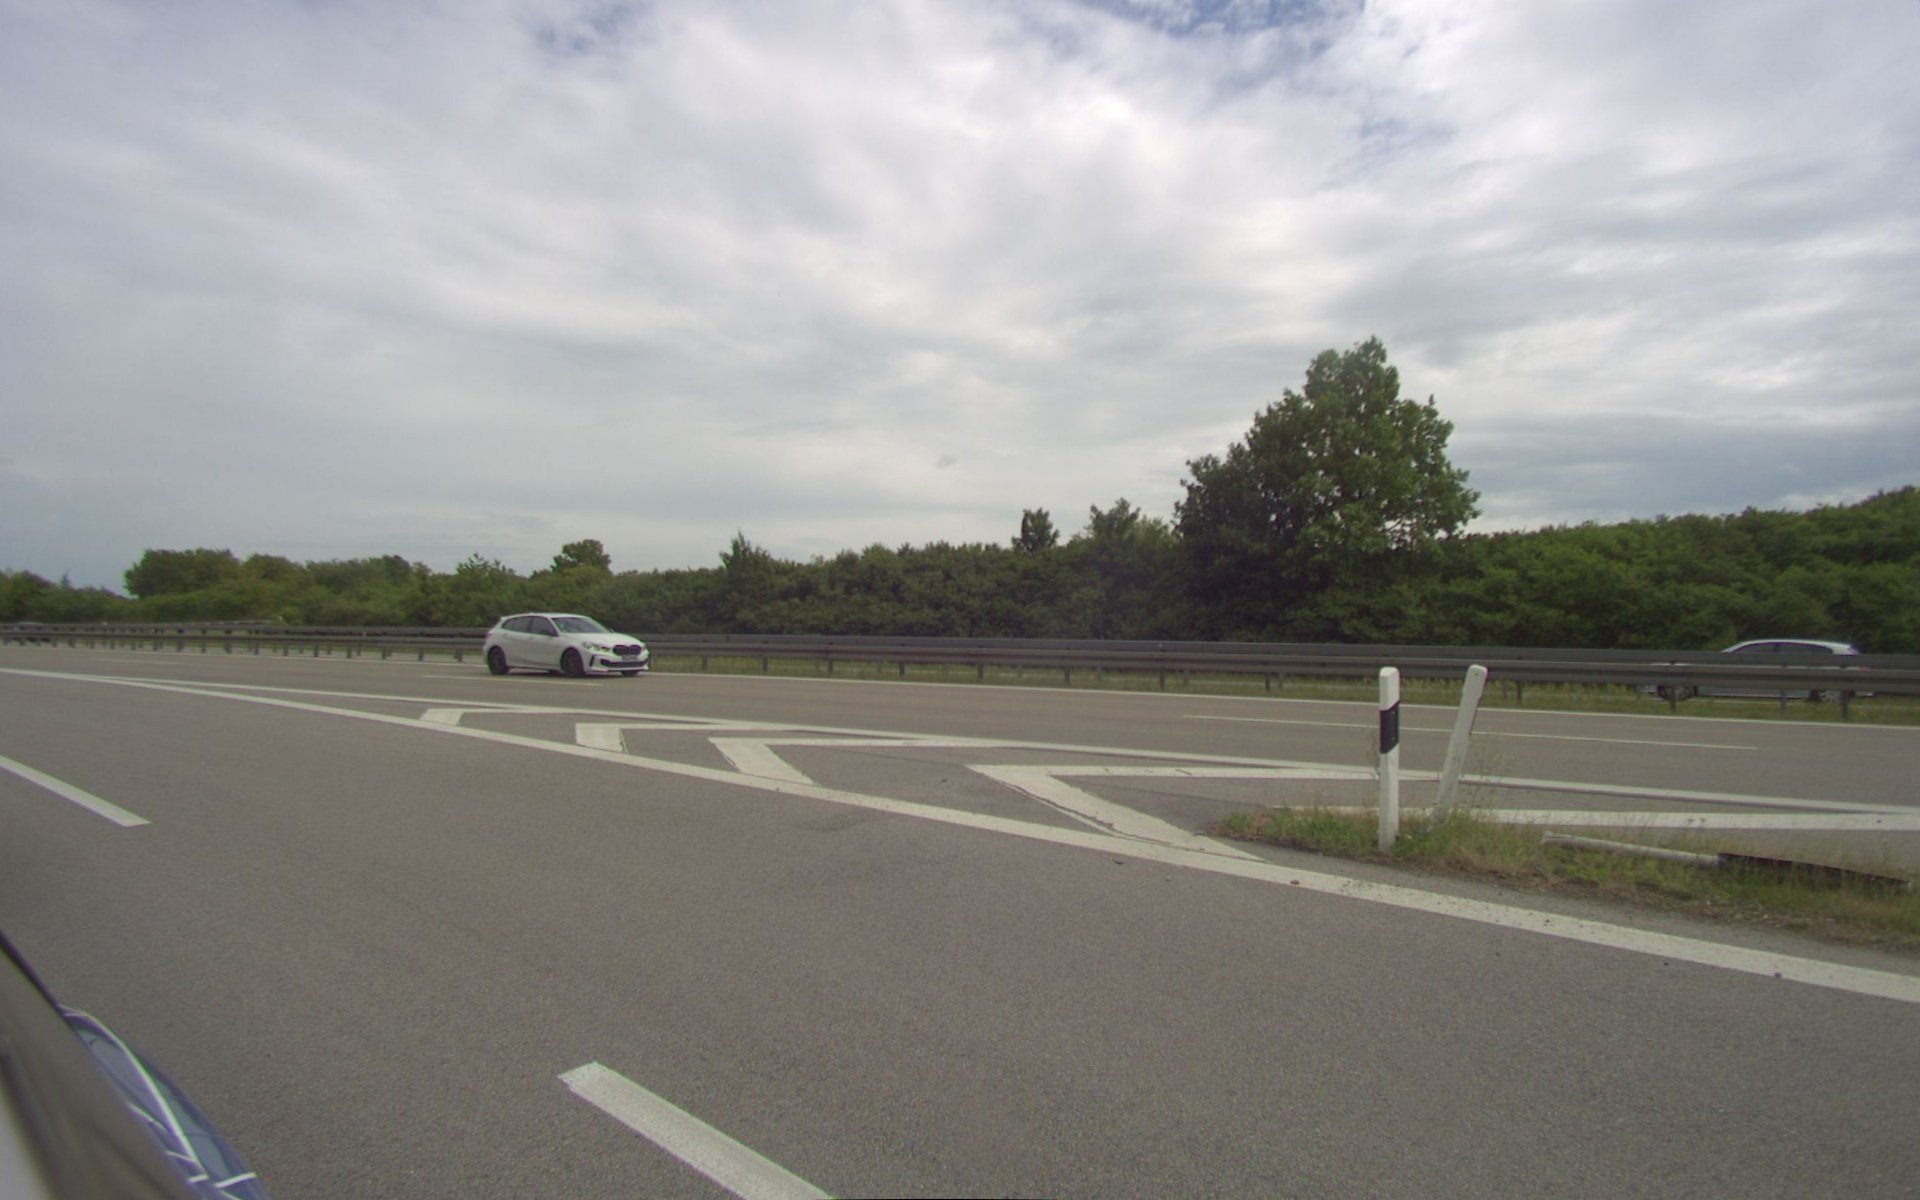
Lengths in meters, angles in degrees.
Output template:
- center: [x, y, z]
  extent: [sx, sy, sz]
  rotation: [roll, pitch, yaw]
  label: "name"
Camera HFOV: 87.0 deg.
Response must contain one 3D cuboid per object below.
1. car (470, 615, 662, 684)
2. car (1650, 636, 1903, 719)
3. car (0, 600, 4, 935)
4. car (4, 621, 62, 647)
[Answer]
- center: [-9.121, 1.093, 23.363]
  extent: [4.361, 1.464, 1.823]
  rotation: [-1, -2, 30]
  label: "car"
- center: [17.465, 1.608, 21.926]
  extent: [3.983, 1.608, 1.791]
  rotation: [-1, -2, 30]
  label: "car"
- center: [-6.458, 0.773, 5.134]
  extent: [4.024, 1.509, 1.826]
  rotation: [-1, -1, 39]
  label: "car"
- center: [-65.921, 2.380, 71.962]
  extent: [3.985, 1.816, 1.979]
  rotation: [-1, -2, 31]
  label: "car"
